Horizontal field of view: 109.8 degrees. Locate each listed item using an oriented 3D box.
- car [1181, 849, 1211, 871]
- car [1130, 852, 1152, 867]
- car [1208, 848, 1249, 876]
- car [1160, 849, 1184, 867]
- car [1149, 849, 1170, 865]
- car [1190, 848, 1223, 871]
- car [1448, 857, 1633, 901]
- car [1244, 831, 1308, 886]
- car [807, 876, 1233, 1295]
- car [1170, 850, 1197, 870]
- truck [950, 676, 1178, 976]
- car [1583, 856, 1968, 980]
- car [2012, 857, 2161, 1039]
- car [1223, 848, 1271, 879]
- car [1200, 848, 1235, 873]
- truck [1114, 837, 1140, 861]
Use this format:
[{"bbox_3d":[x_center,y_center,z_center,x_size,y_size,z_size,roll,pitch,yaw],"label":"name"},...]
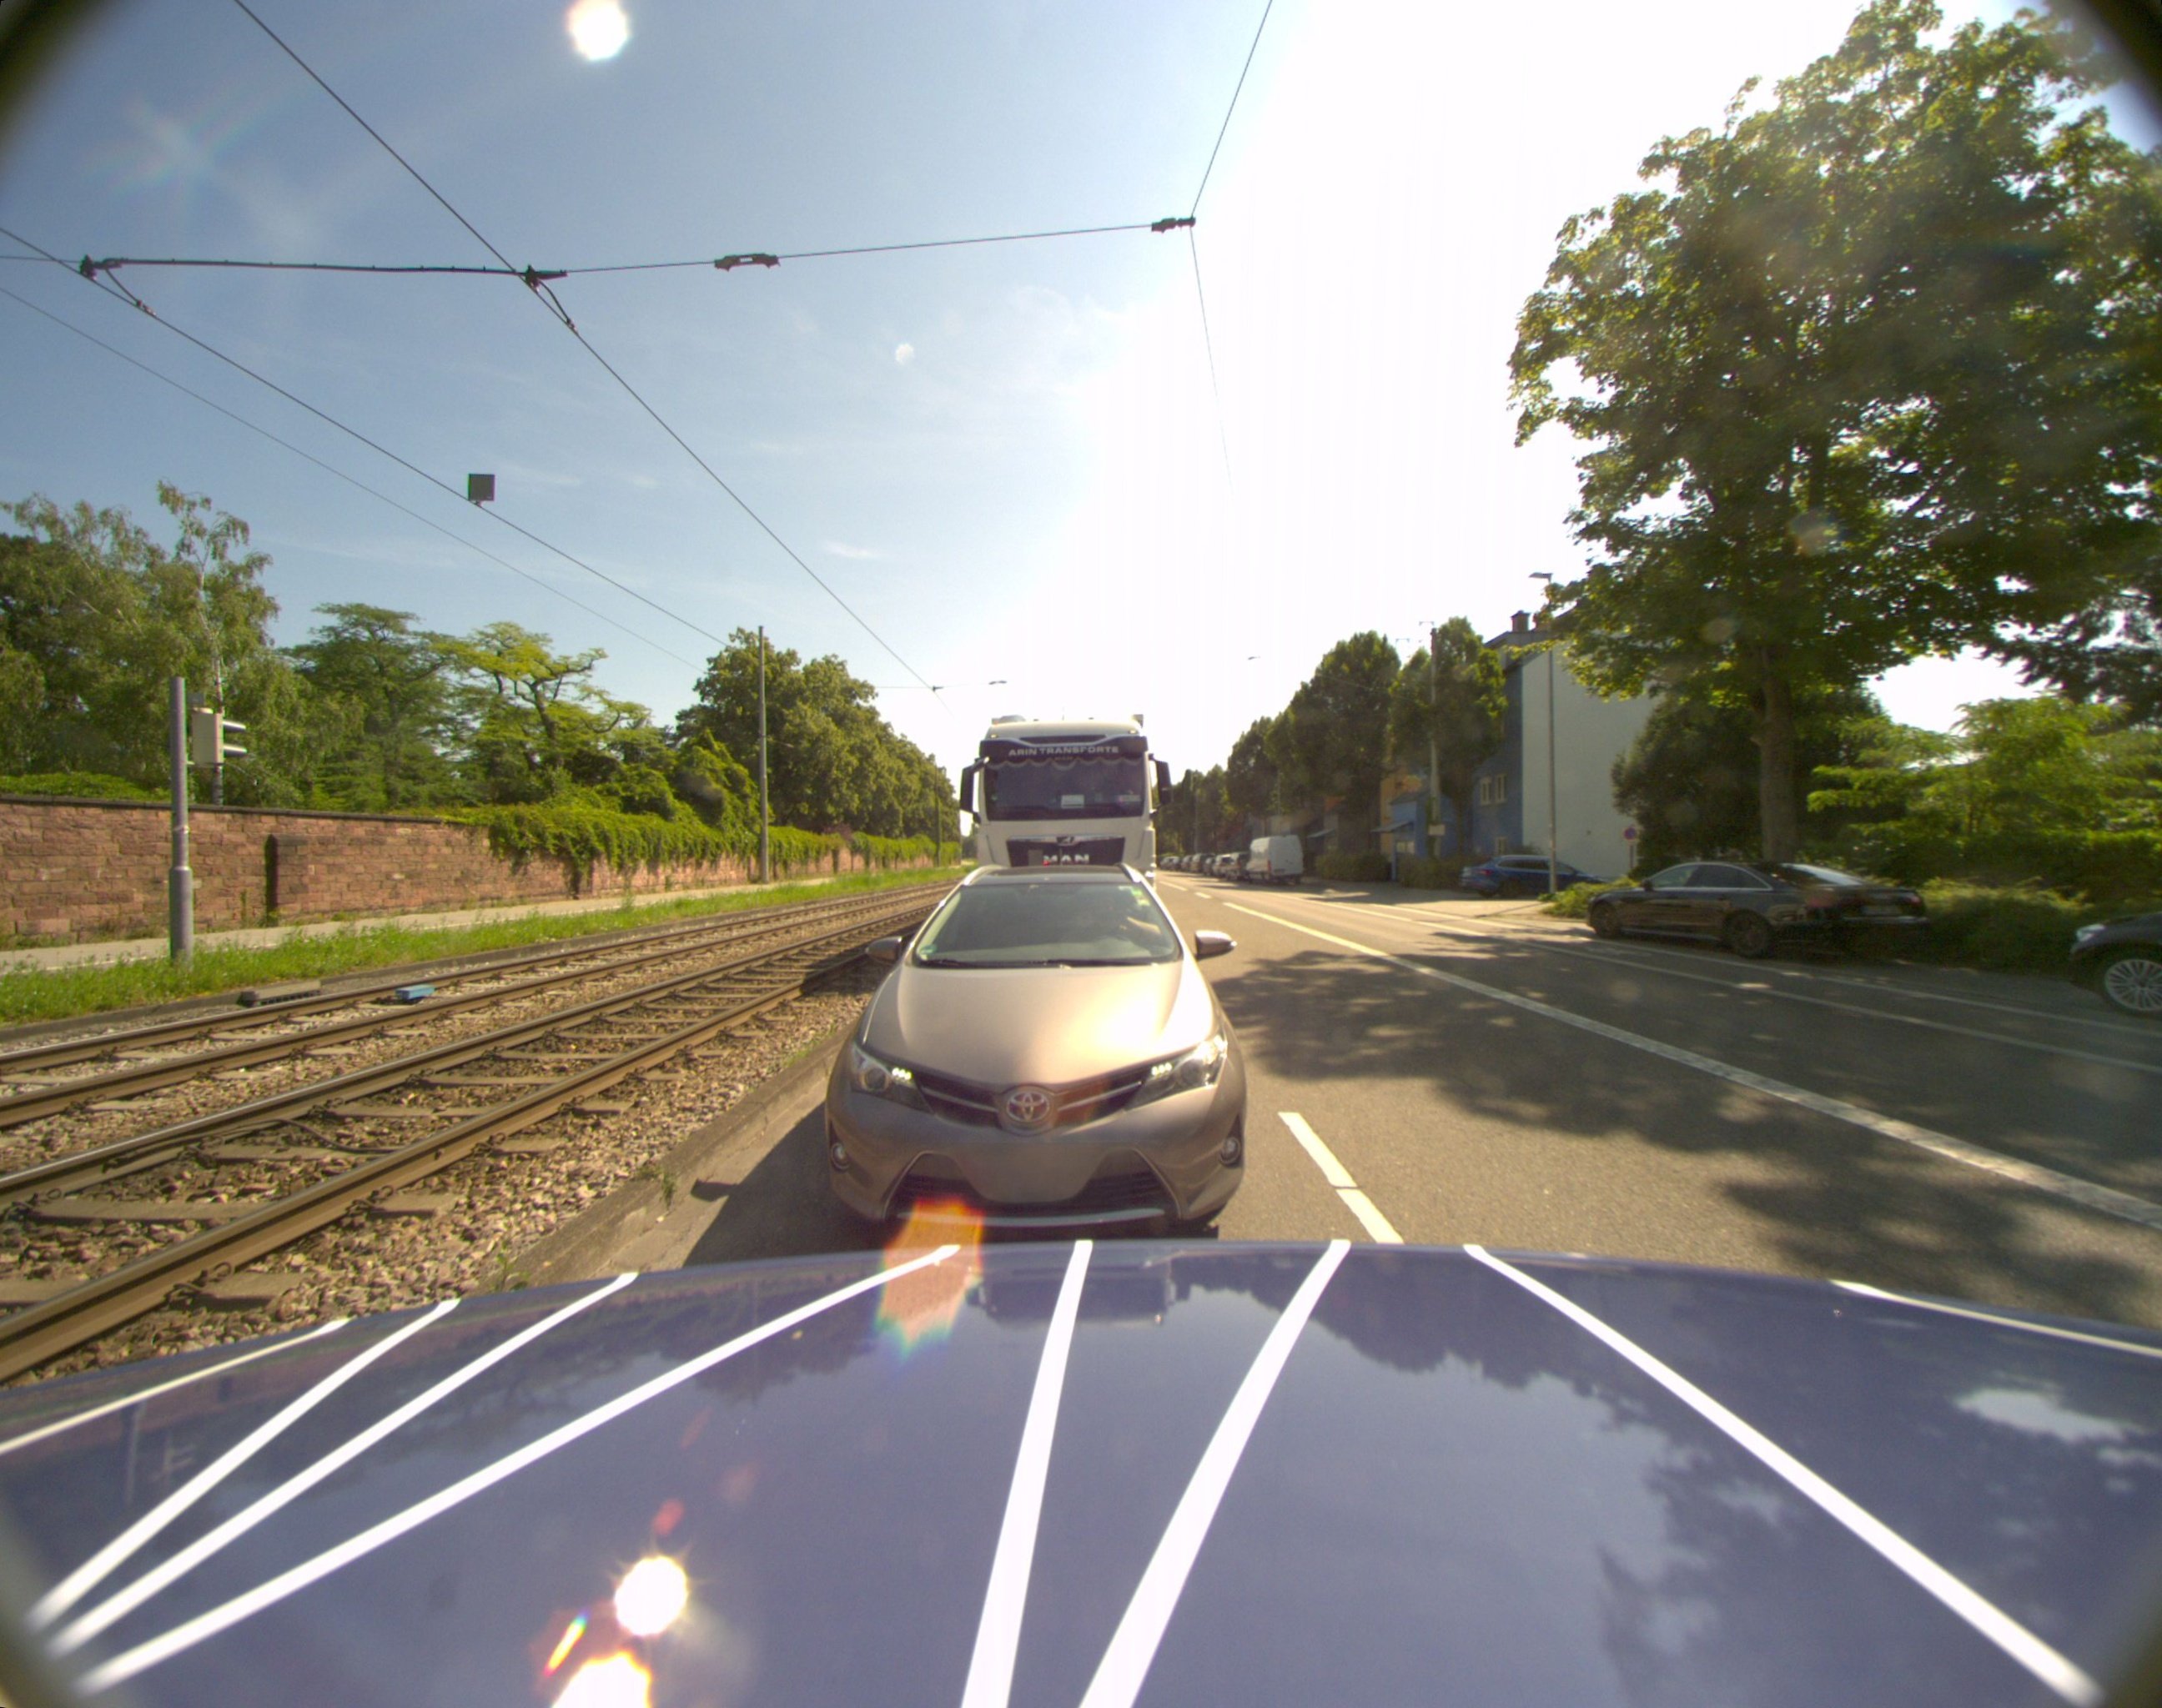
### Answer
[{"bbox_3d":[11.038,0.553,73.371,1.998,1.795,4.769,-6,0,0],"label":"car"},{"bbox_3d":[8.300,0.786,105.563,1.999,1.795,5.111,-6,0,-4],"label":"car"},{"bbox_3d":[11.094,0.575,57.372,1.998,1.795,4.769,-6,0,0],"label":"car"},{"bbox_3d":[10.225,0.473,85.904,1.998,1.795,4.769,-6,0,0],"label":"car"},{"bbox_3d":[9.938,0.373,96.883,1.998,1.795,4.769,-6,0,0],"label":"car"},{"bbox_3d":[11.125,0.490,67.667,1.998,1.795,4.769,-6,0,0],"label":"car"},{"bbox_3d":[15.462,0.818,25.764,5.070,1.422,1.891,0,0,3],"label":"car"},{"bbox_3d":[10.939,0.231,43.143,1.998,2.678,6.214,-6,0,2],"label":"car"},{"bbox_3d":[-0.201,0.918,4.815,1.573,1.422,4.000,0,0,1],"label":"car"},{"bbox_3d":[10.589,0.627,79.160,1.998,1.795,4.769,-6,0,0],"label":"car"},{"bbox_3d":[-0.122,-0.379,17.258,2.935,3.856,14.912,0,0,1],"label":"truck"},{"bbox_3d":[10.524,0.829,12.152,1.868,1.562,4.621,-1,0,-2],"label":"car"},{"bbox_3d":[10.590,0.845,5.563,1.868,1.562,4.621,-2,0,0],"label":"car"},{"bbox_3d":[11.166,0.631,51.384,1.998,1.795,4.769,-6,0,0],"label":"car"},{"bbox_3d":[11.236,0.529,62.856,1.998,1.795,4.256,-6,0,0],"label":"car"},{"bbox_3d":[7.008,-0.687,116.100,2.704,3.263,6.724,-6,0,-5],"label":"truck"}]
